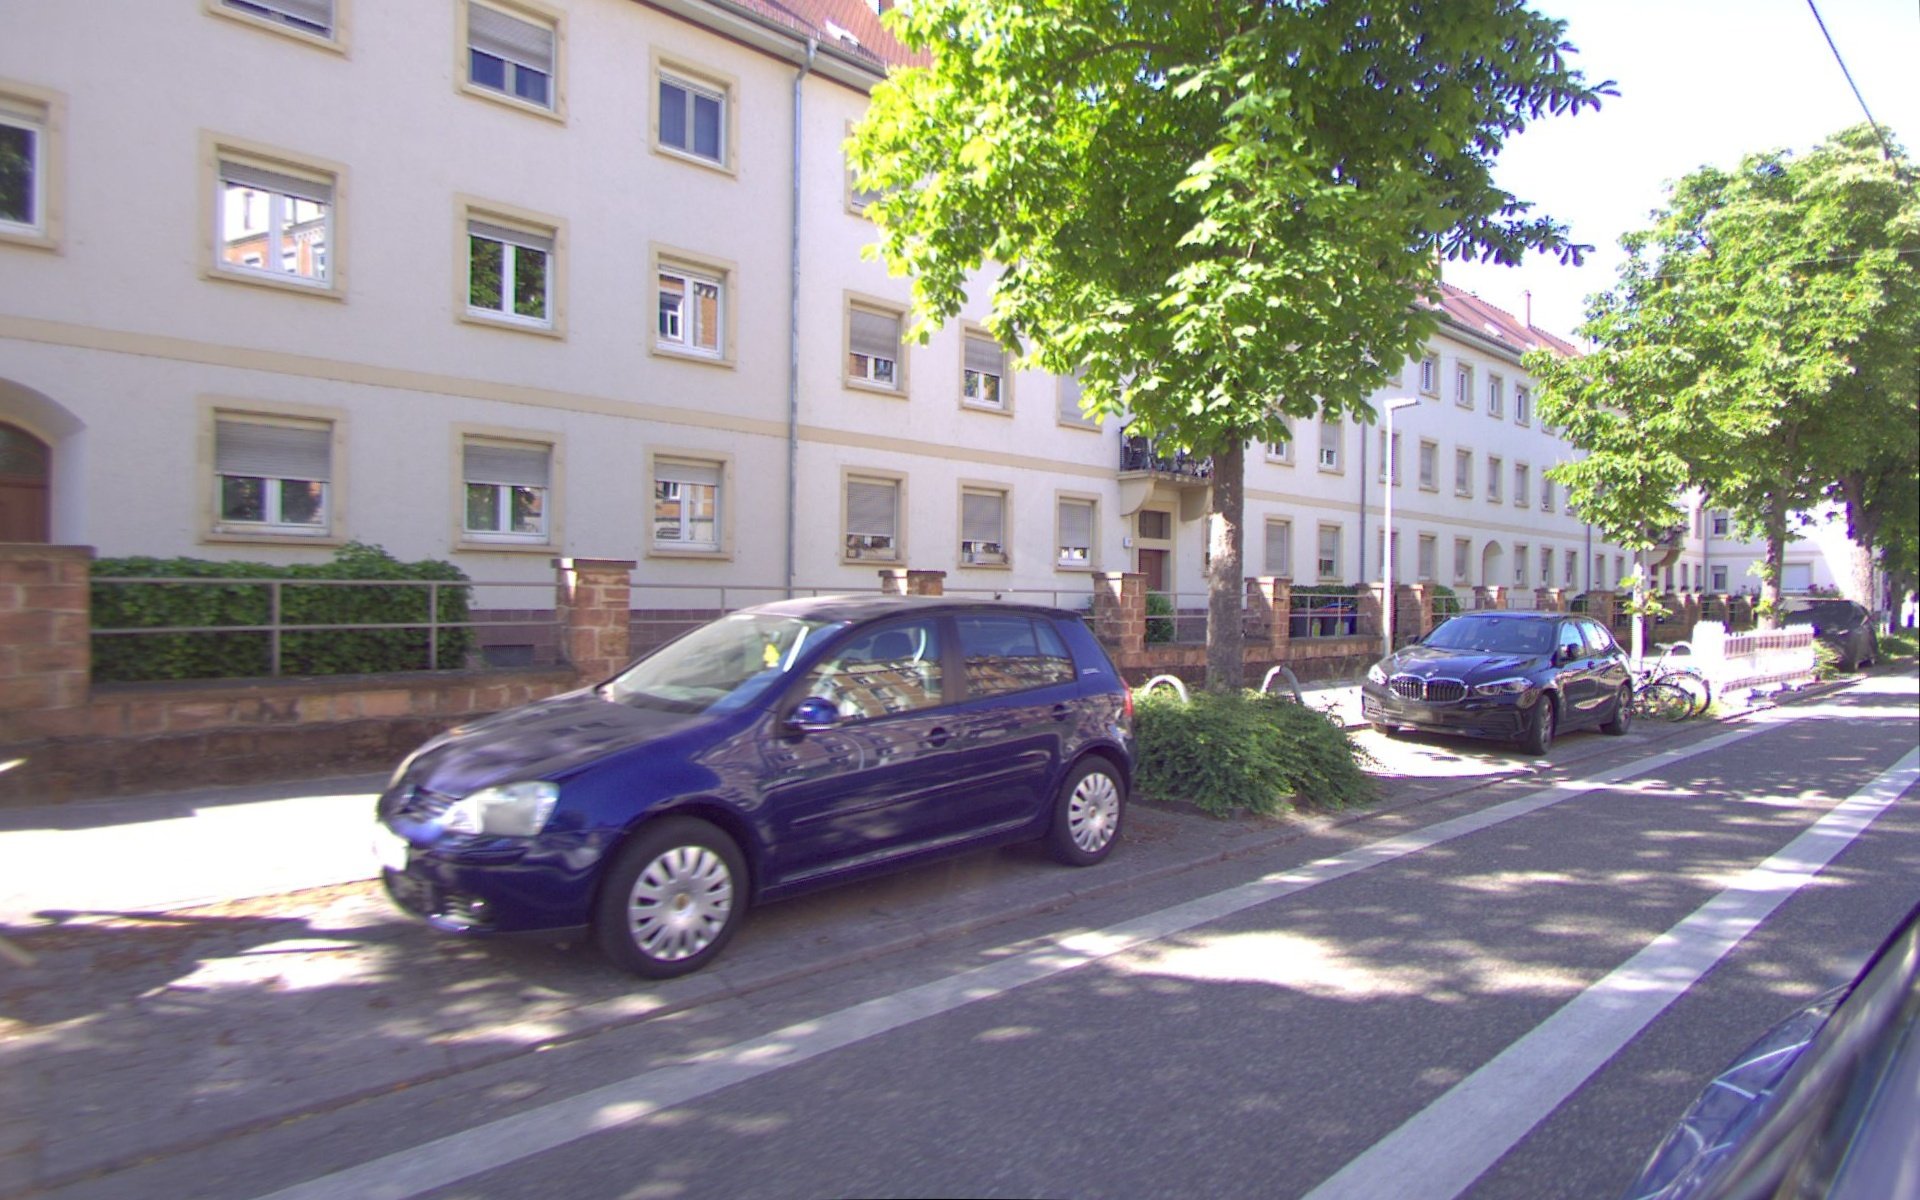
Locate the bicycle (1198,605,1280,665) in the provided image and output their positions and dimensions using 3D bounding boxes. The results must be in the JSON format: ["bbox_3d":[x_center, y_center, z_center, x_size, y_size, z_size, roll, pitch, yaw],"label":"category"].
[{"bbox_3d":[5.270,0.628,19.065,1.839,1.066,0.560,0,0,-41],"label":"bicycle"}]

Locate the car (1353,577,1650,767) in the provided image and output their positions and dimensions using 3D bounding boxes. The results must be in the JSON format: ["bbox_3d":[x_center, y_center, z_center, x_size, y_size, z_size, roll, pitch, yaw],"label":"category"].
[{"bbox_3d":[6.261,0.668,11.494,4.158,1.783,1.668,0,0,-42],"label":"car"}]

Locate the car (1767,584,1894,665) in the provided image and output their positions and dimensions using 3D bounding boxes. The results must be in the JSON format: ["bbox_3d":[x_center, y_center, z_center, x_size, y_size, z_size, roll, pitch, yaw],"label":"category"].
[{"bbox_3d":[21.168,0.555,24.546,4.400,1.789,1.746,0,-1,-42],"label":"car"}]

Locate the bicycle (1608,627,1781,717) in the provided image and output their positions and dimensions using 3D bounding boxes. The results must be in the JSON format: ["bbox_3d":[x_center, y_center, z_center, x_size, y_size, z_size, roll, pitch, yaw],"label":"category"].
[{"bbox_3d":[9.564,0.907,13.247,0.426,1.092,1.765,0,-2,-39],"label":"bicycle"}]

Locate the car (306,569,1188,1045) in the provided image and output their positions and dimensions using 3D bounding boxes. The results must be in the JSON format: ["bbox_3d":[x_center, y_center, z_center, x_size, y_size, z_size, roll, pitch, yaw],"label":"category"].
[{"bbox_3d":[-0.768,0.631,5.229,4.173,1.492,1.722,0,1,-42],"label":"car"}]

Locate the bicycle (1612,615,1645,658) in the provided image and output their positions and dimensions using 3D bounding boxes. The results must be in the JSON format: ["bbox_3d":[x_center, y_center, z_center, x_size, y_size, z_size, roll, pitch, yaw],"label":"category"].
[{"bbox_3d":[20.702,1.113,31.320,1.647,1.254,0.448,0,0,-43],"label":"bicycle"}]

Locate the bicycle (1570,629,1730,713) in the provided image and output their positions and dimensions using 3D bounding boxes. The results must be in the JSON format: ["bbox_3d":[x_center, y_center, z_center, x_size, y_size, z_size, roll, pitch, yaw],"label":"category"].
[{"bbox_3d":[9.528,0.952,14.040,0.426,1.092,1.765,0,-2,-39],"label":"bicycle"}]
